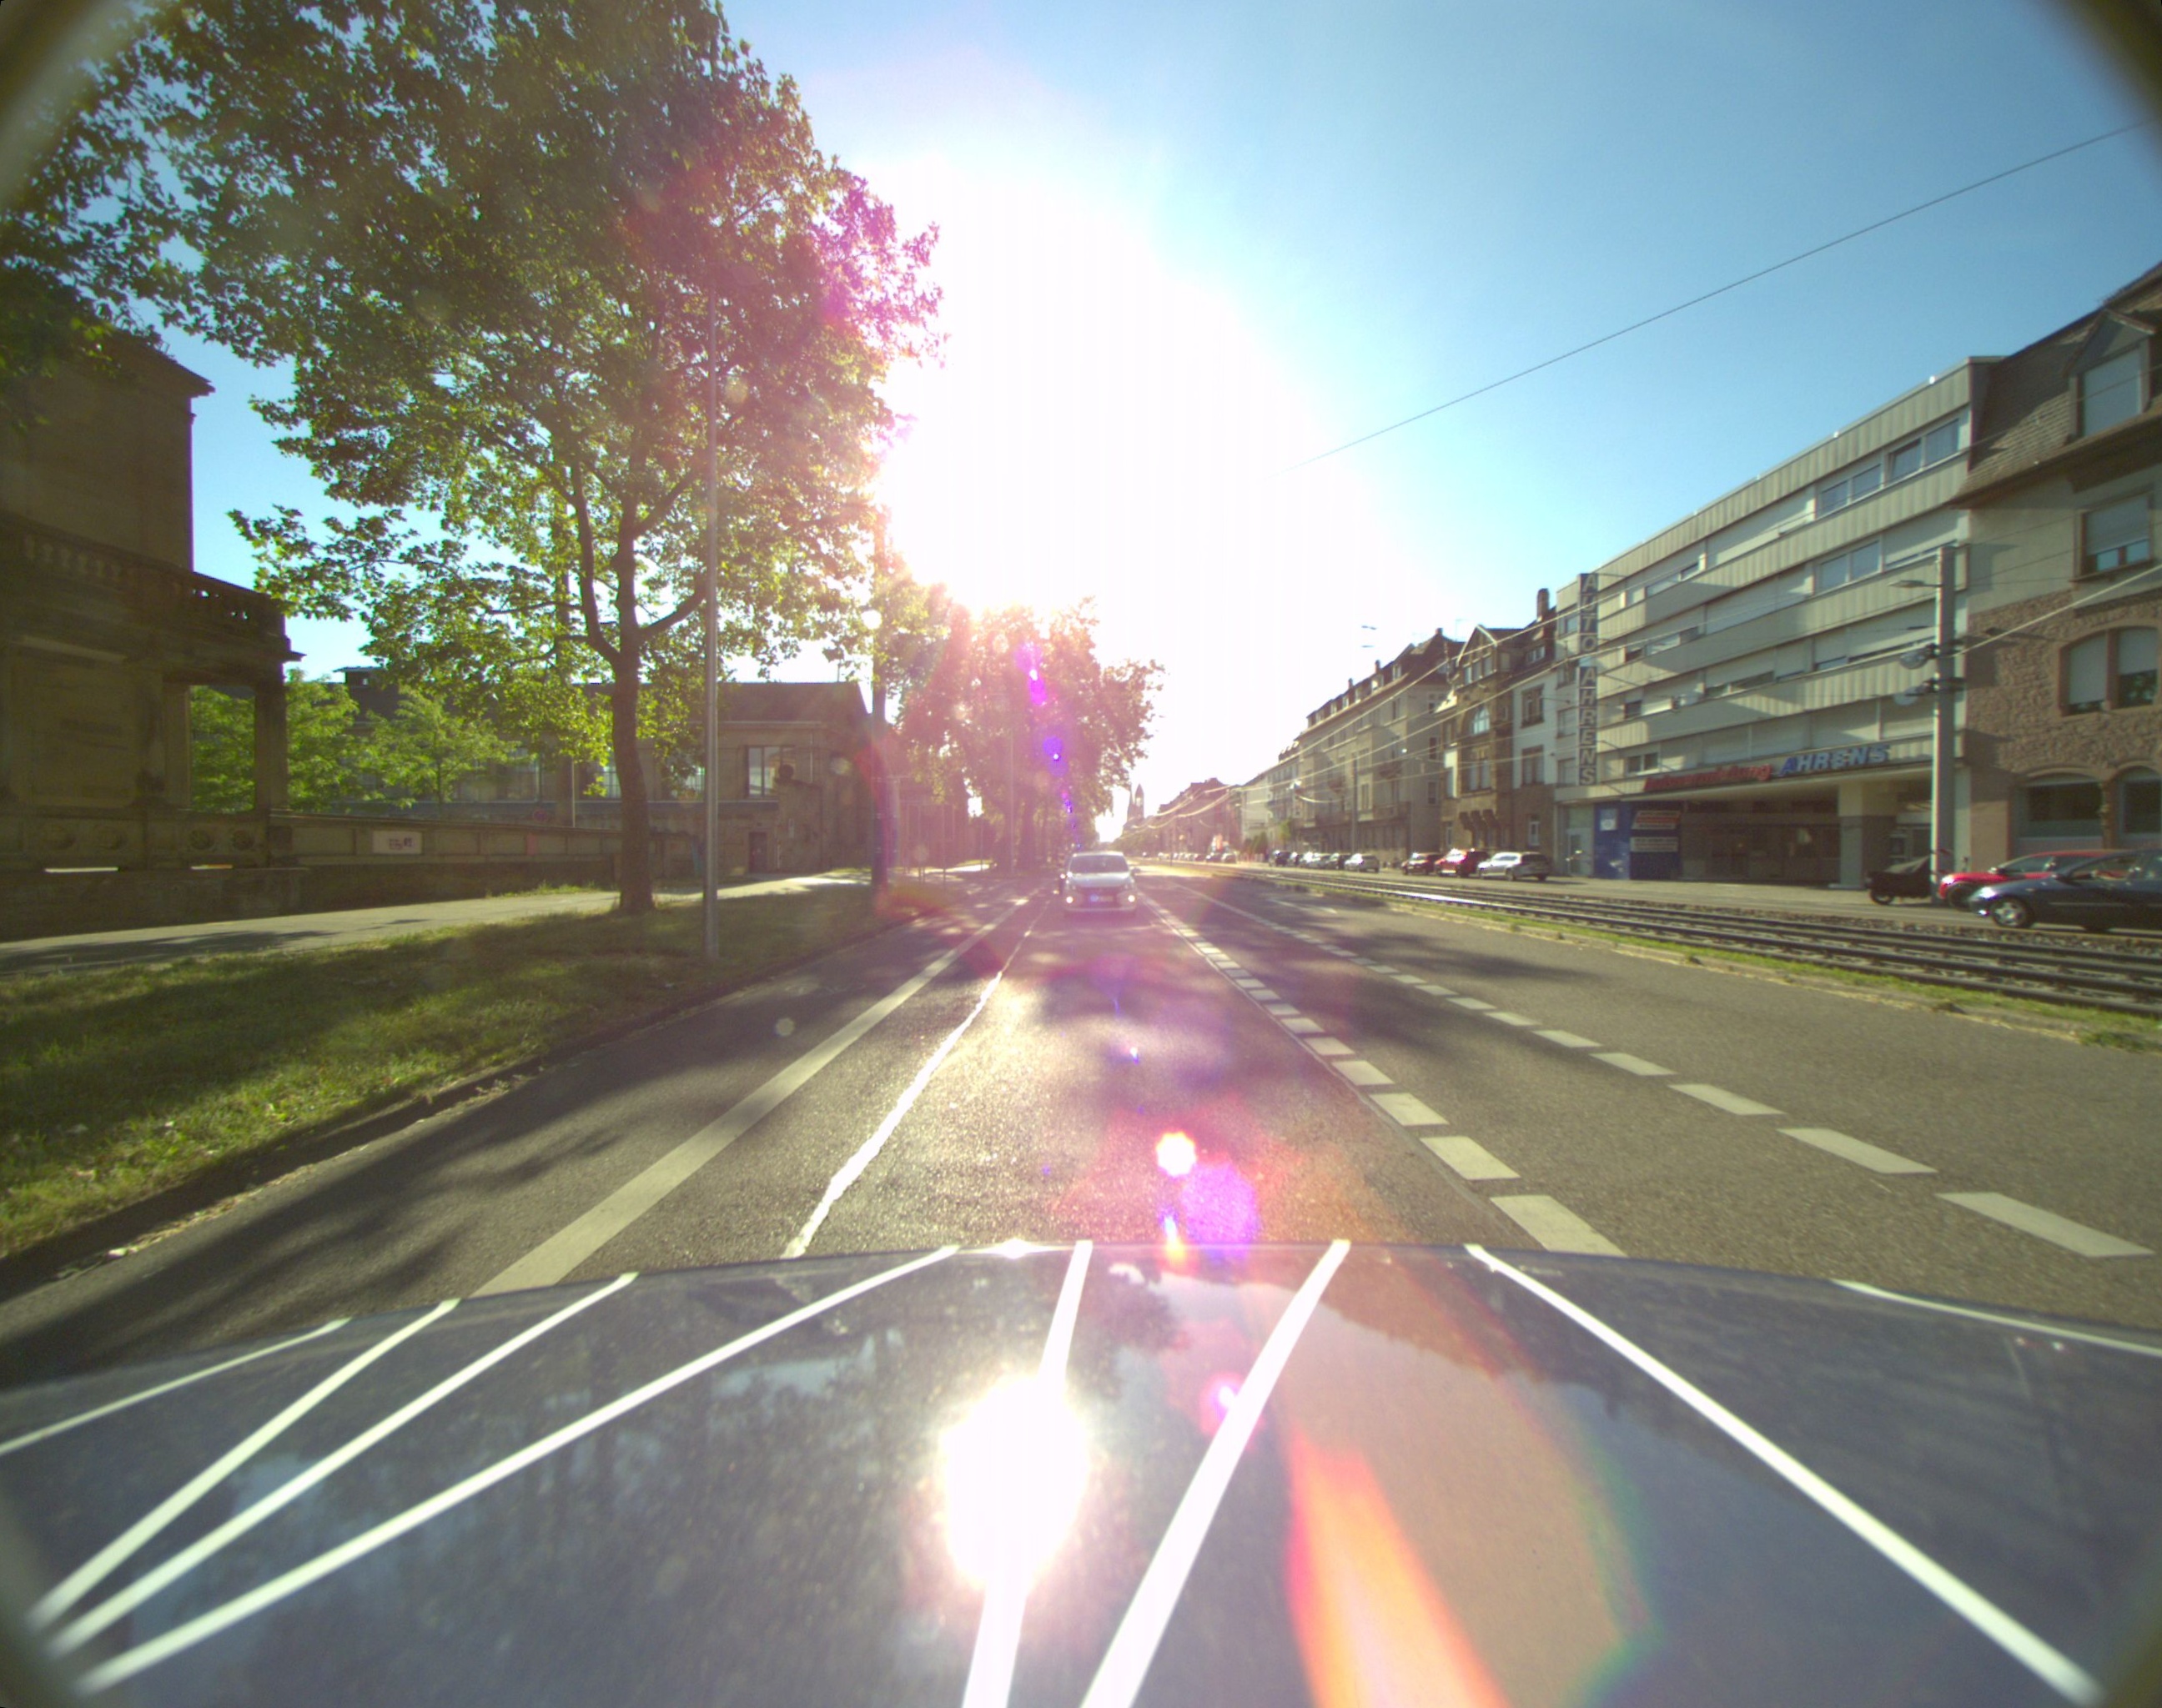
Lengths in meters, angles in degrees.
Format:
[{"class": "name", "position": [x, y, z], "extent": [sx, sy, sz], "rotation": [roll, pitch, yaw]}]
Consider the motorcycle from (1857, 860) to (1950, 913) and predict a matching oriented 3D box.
[{"class": "motorcycle", "position": [22.977, 0.899, 21.239], "extent": [1.860, 1.413, 0.629], "rotation": [-2, 0, 1]}]

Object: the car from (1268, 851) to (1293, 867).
[{"class": "car", "position": [23.188, 0.541, 88.385], "extent": [1.876, 1.726, 3.915], "rotation": [-1, 0, 1]}]

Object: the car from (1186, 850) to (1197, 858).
[{"class": "car", "position": [23.309, 0.014, 160.365], "extent": [1.624, 1.581, 3.450], "rotation": [-1, 1, 0]}]

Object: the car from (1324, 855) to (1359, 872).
[{"class": "car", "position": [23.221, 0.828, 67.855], "extent": [1.802, 1.422, 3.822], "rotation": [-1, 0, -1]}]

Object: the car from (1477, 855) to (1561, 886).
[{"class": "car", "position": [23.065, 0.812, 40.238], "extent": [1.861, 1.490, 4.381], "rotation": [-2, 0, -1]}]

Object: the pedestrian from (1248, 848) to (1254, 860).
[{"class": "pedestrian", "position": [26.587, 0.027, 118.957], "extent": [0.725, 1.779, 0.678], "rotation": [0, 1, 0]}]

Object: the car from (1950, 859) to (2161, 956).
[{"class": "car", "position": [17.377, 0.837, 12.291], "extent": [1.824, 1.448, 4.165], "rotation": [0, 0, 0]}]

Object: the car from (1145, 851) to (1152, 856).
[{"class": "car", "position": [20.741, -0.154, 234.580], "extent": [1.822, 1.674, 4.000], "rotation": [0, 0, 1]}]

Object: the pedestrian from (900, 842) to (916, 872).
[{"class": "pedestrian", "position": [-9.847, 0.154, 43.173], "extent": [0.672, 1.652, 0.874], "rotation": [1, 1, 2]}]

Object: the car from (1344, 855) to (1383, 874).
[{"class": "car", "position": [23.252, 0.821, 62.609], "extent": [1.802, 1.471, 3.823], "rotation": [-1, 0, 1]}]

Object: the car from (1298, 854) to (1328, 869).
[{"class": "car", "position": [23.486, 0.725, 77.039], "extent": [1.802, 1.471, 3.823], "rotation": [-1, 0, 1]}]

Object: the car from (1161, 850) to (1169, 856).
[{"class": "car", "position": [23.602, -0.224, 213.634], "extent": [1.624, 1.581, 3.450], "rotation": [-1, 1, 0]}]

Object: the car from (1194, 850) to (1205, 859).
[{"class": "car", "position": [23.570, 0.079, 151.205], "extent": [1.624, 1.581, 3.450], "rotation": [-1, 1, 0]}]

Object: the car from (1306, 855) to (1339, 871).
[{"class": "car", "position": [22.900, 0.815, 72.189], "extent": [1.642, 1.438, 3.537], "rotation": [-1, 0, -7]}]

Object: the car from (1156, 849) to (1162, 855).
[{"class": "car", "position": [24.642, -0.637, 240.632], "extent": [1.624, 1.581, 3.450], "rotation": [-1, 1, 0]}]

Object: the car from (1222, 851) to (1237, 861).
[{"class": "car", "position": [23.500, 0.328, 120.222], "extent": [1.684, 1.562, 3.388], "rotation": [-1, 1, 0]}]

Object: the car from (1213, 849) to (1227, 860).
[{"class": "car", "position": [23.945, 0.025, 130.703], "extent": [1.727, 1.776, 3.880], "rotation": [-1, 1, 0]}]

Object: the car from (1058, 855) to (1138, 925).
[{"class": "car", "position": [0.400, 0.779, 18.313], "extent": [1.686, 1.462, 4.055], "rotation": [-1, 0, 1]}]

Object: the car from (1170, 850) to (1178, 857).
[{"class": "car", "position": [23.980, -0.089, 195.330], "extent": [1.624, 1.581, 3.450], "rotation": [-1, 1, 0]}]

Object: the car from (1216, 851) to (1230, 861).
[{"class": "car", "position": [23.528, 0.257, 125.647], "extent": [1.684, 1.562, 3.388], "rotation": [-1, 1, 0]}]

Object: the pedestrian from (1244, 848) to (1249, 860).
[{"class": "pedestrian", "position": [25.919, -0.010, 118.974], "extent": [0.725, 1.779, 0.678], "rotation": [0, 1, 0]}]

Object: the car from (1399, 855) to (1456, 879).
[{"class": "car", "position": [23.078, 0.810, 50.757], "extent": [1.756, 1.487, 3.728], "rotation": [-2, 0, -6]}]

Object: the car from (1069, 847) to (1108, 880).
[{"class": "car", "position": [0.378, 0.453, 37.811], "extent": [1.833, 1.543, 4.000], "rotation": [0, 1, 1]}]

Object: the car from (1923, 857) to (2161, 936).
[{"class": "car", "position": [22.735, 0.863, 17.536], "extent": [1.861, 1.490, 4.210], "rotation": [-3, 0, -1]}]

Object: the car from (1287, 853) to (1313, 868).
[{"class": "car", "position": [23.866, 0.681, 82.885], "extent": [1.802, 1.471, 3.823], "rotation": [-1, 0, 1]}]

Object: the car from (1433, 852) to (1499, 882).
[{"class": "car", "position": [23.027, 0.728, 45.623], "extent": [1.860, 1.677, 4.263], "rotation": [-2, 0, 1]}]

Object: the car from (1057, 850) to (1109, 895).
[{"class": "car", "position": [0.094, 0.592, 27.088], "extent": [1.686, 1.462, 4.055], "rotation": [-1, 0, 1]}]

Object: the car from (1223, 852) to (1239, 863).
[{"class": "car", "position": [22.668, 0.568, 114.871], "extent": [1.677, 1.622, 3.408], "rotation": [-1, 0, 1]}]

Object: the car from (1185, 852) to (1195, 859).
[{"class": "car", "position": [23.902, 0.284, 166.170], "extent": [1.624, 1.581, 3.450], "rotation": [-1, 1, 0]}]
